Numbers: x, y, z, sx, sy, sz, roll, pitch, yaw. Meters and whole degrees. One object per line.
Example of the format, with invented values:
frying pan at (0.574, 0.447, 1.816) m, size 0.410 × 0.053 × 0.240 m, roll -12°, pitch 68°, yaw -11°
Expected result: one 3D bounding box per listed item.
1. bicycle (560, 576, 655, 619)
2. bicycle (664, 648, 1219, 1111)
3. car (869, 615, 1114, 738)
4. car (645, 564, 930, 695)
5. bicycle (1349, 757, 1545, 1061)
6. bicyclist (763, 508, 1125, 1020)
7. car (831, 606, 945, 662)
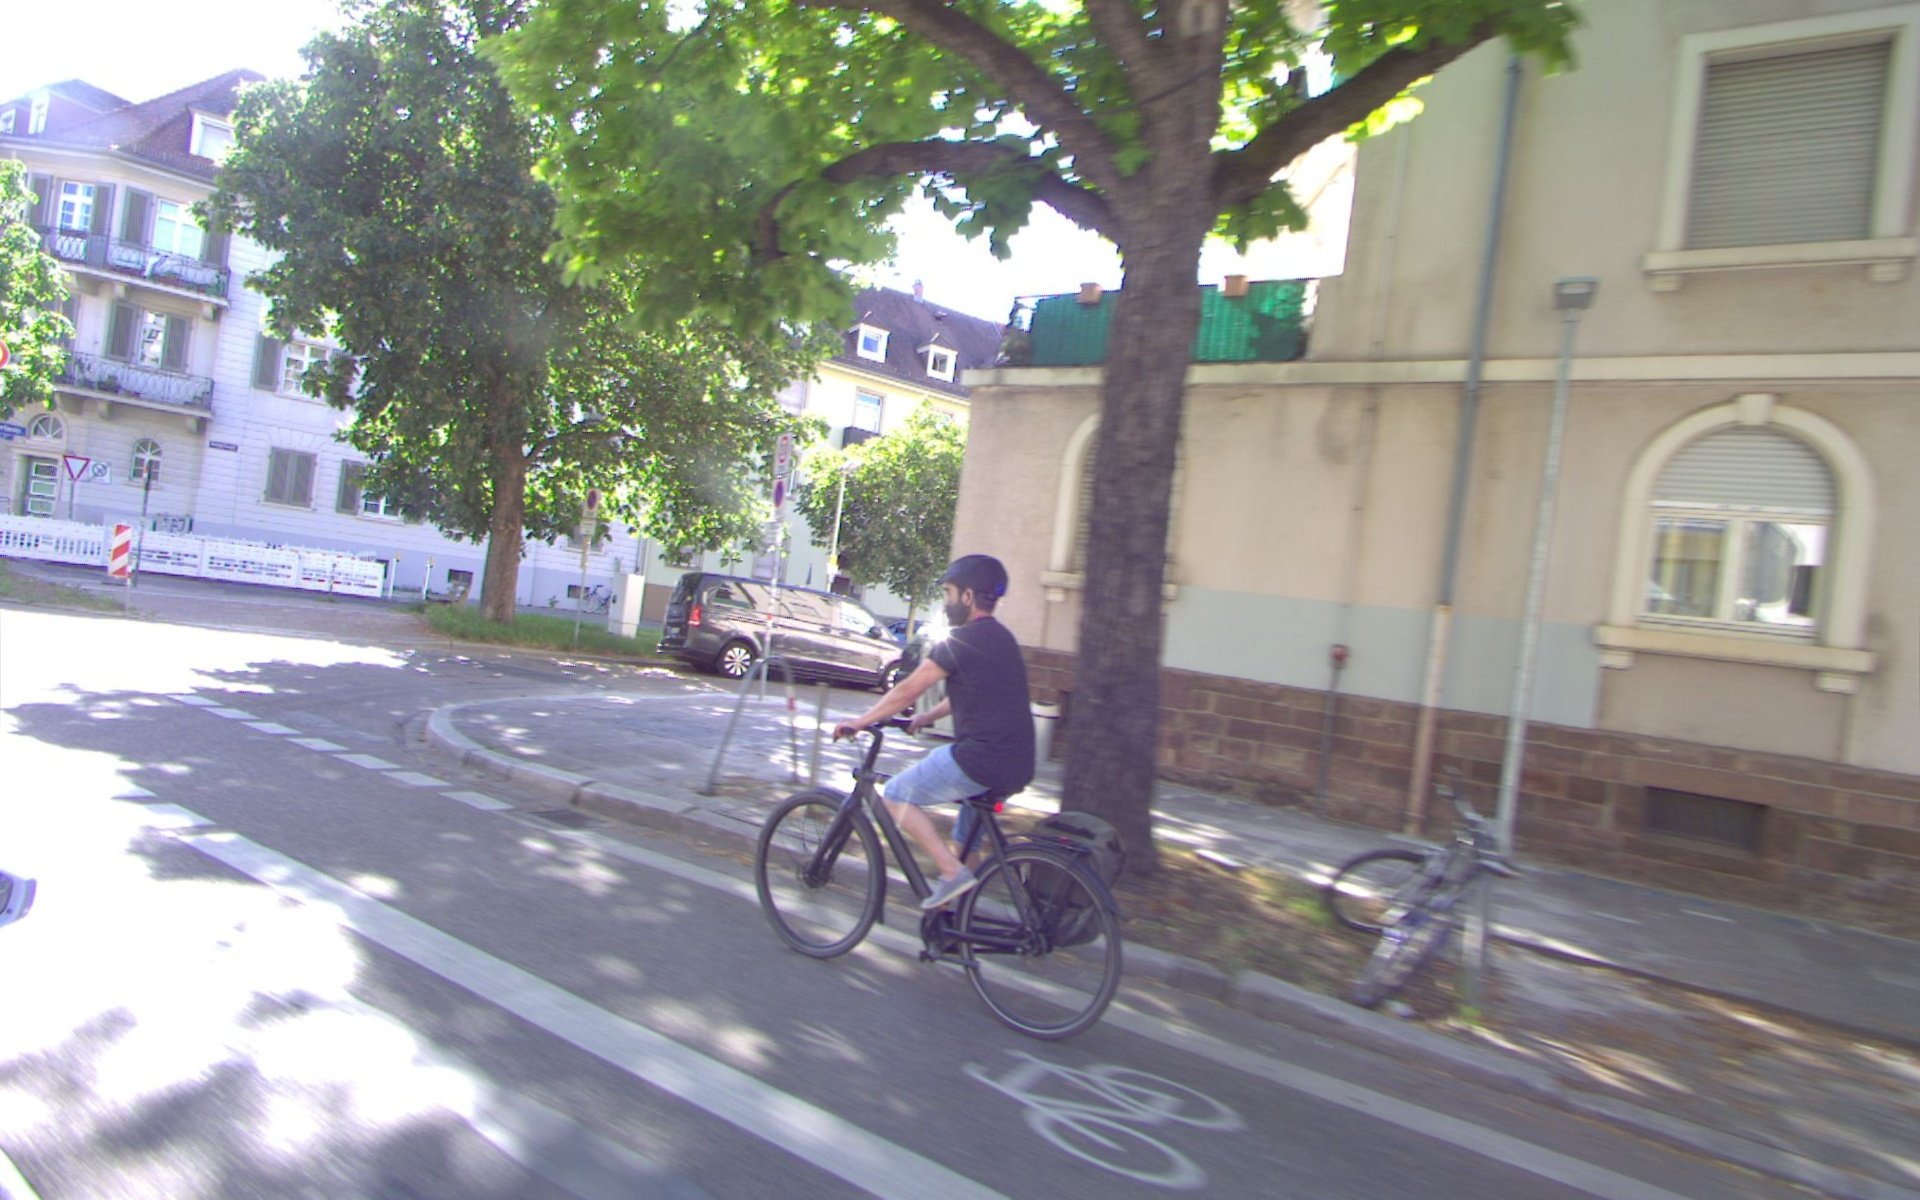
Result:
bicycle at (-12.732, -0.076, 36.399) m, size 3.082 × 1.127 × 0.521 m, roll 9°, pitch 2°, yaw -33°
bicycle at (-0.131, 0.980, 4.156) m, size 2.061 × 1.256 × 0.763 m, roll 7°, pitch -2°, yaw 31°
car at (0.518, 1.221, 15.924) m, size 3.405 × 1.555 × 1.710 m, roll 8°, pitch -4°, yaw -31°
car at (-3.306, 0.635, 19.773) m, size 5.019 × 1.911 × 1.984 m, roll 9°, pitch -3°, yaw -33°
bicycle at (2.320, 1.388, 4.931) m, size 0.629 × 0.992 × 1.570 m, roll 7°, pitch 0°, yaw 22°
bicyclist at (-0.053, 0.593, 4.145) m, size 1.029 × 1.758 × 0.763 m, roll 7°, pitch -1°, yaw 31°
car at (-2.751, 1.320, 38.789) m, size 3.837 × 1.565 × 1.826 m, roll 8°, pitch 1°, yaw -36°
